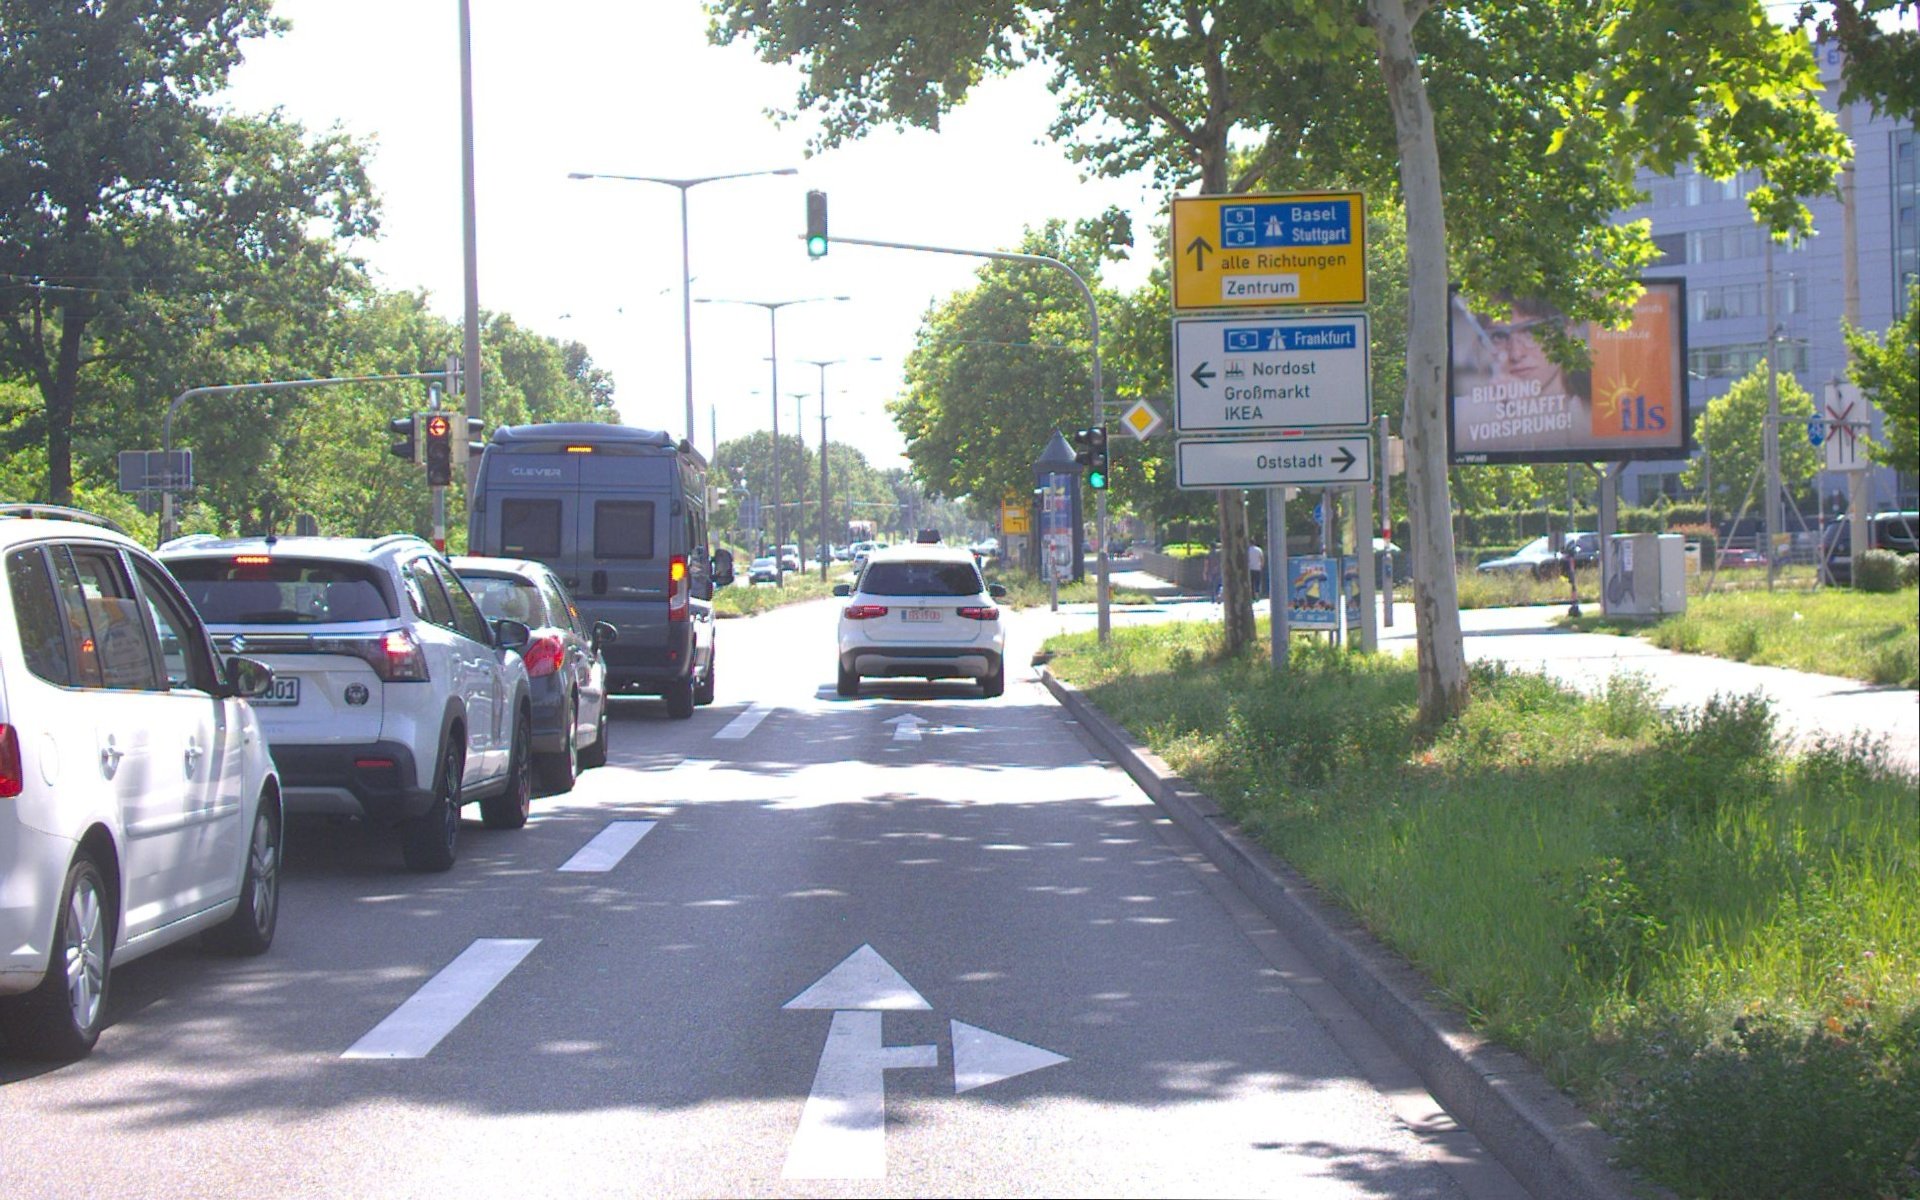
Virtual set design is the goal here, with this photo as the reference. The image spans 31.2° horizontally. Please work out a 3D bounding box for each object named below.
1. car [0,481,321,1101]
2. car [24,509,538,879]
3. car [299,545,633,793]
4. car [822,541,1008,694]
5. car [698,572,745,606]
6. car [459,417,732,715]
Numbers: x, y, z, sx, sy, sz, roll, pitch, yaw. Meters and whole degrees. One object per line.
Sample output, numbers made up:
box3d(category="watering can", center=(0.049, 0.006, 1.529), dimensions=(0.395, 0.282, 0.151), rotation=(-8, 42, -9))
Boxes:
box3d(category="car", center=(-3.397, 0.494, 11.280), dimensions=(1.771, 1.641, 4.352), rotation=(0, 0, 0))
box3d(category="car", center=(-3.270, 0.411, 17.333), dimensions=(1.771, 1.641, 4.084), rotation=(0, 0, 0))
box3d(category="car", center=(-3.237, 0.405, 23.187), dimensions=(1.691, 1.499, 3.886), rotation=(1, 1, 0))
box3d(category="car", center=(-0.455, 0.156, 38.728), dimensions=(1.854, 1.602, 4.000), rotation=(1, 1, 3))
box3d(category="car", center=(-8.008, -0.381, 115.645), dimensions=(1.369, 1.108, 3.207), rotation=(-1, 0, 0))
box3d(category="car", center=(-3.437, -0.318, 33.312), dimensions=(2.081, 2.647, 4.874), rotation=(1, 0, 0))
